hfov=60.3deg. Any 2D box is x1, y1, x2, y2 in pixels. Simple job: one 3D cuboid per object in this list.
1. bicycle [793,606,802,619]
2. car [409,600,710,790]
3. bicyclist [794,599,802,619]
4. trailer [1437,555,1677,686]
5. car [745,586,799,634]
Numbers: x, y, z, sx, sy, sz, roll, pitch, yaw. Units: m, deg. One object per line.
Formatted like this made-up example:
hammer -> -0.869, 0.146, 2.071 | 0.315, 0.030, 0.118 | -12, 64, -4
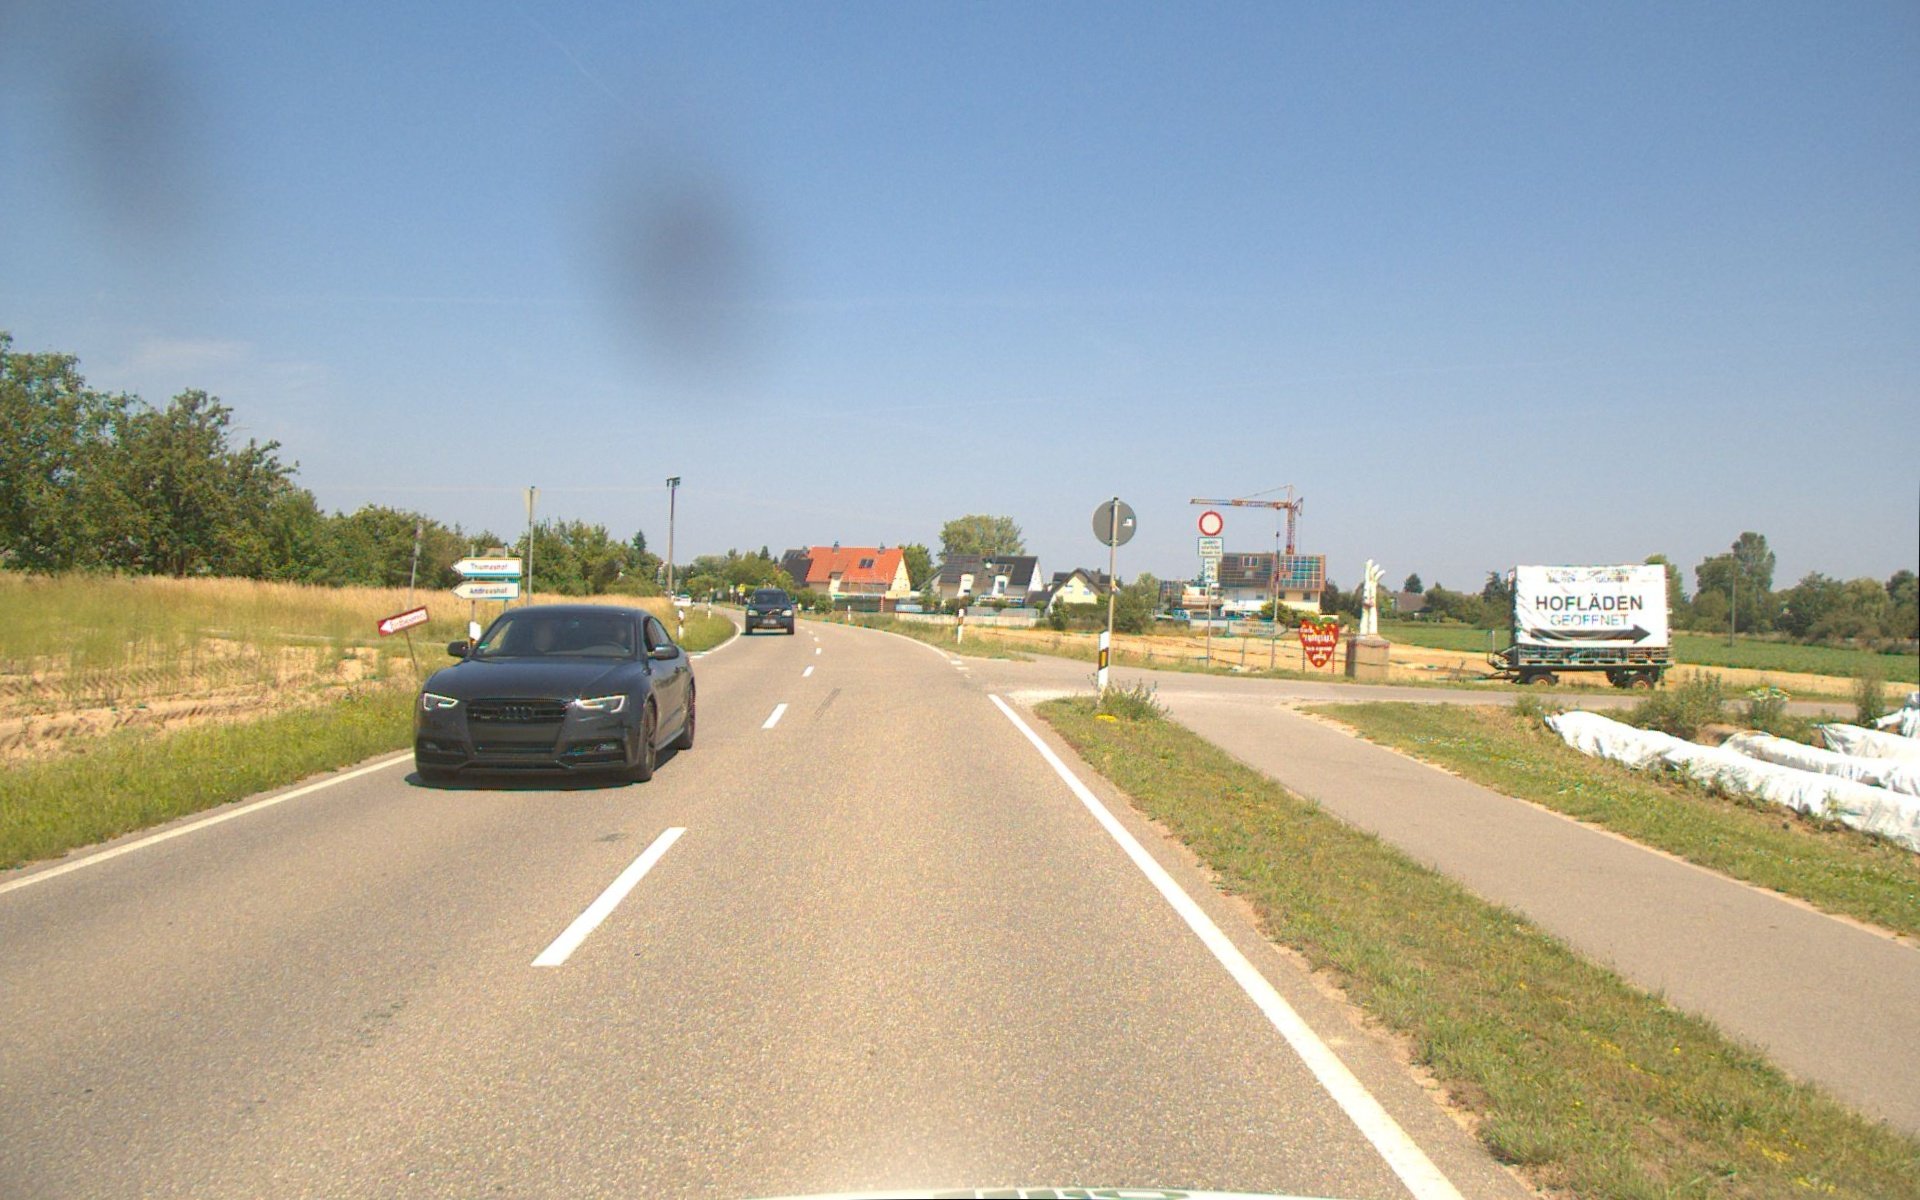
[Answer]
bicycle -> -16.158, 1.227, 164.817 | 0.599, 1.179, 2.268 | 3, 0, -12
car -> -3.318, 0.712, 14.543 | 1.706, 1.380, 4.416 | 1, 0, -2
bicyclist -> -16.092, 0.857, 164.592 | 0.633, 1.922, 0.858 | 3, 0, -12
trailer -> 14.407, 0.496, 40.162 | 5.166, 3.004, 2.001 | 1, -2, 9
car -> -7.297, 0.355, 64.548 | 1.895, 1.782, 5.199 | 0, 0, -4
